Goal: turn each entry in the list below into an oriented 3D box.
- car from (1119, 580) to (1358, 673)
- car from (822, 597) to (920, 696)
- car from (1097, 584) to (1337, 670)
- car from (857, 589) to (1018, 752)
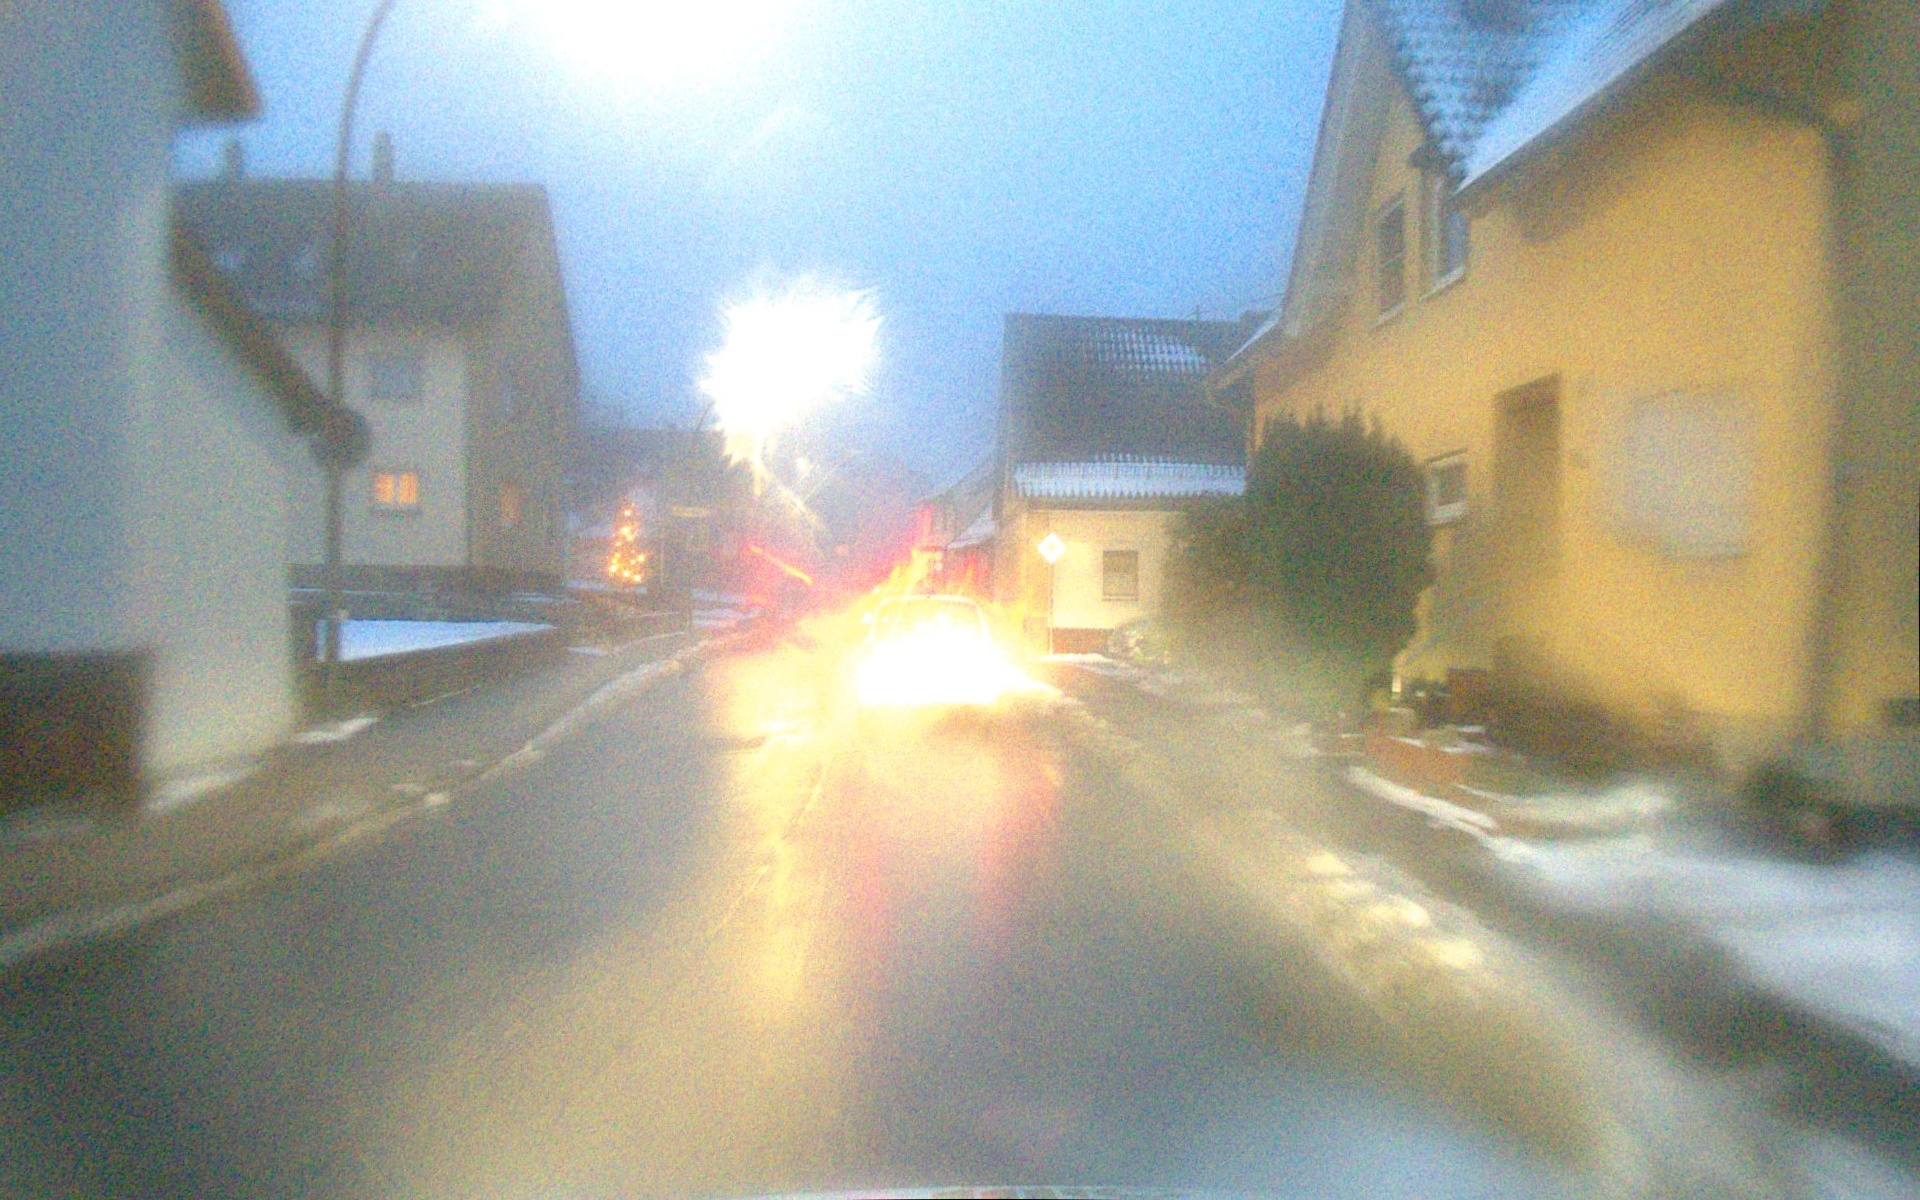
[{"bbox_3d":[4.715,0.427,28.272,3.671,1.523,1.818,0,1,-8],"label":"car"},{"bbox_3d":[-1.637,0.807,29.874,1.613,1.624,3.696,2,-1,-4],"label":"car"},{"bbox_3d":[4.806,0.500,31.255,4.090,1.458,1.898,2,1,-7],"label":"car"},{"bbox_3d":[-0.324,0.744,18.861,1.612,1.624,3.697,2,-1,-3],"label":"car"}]
